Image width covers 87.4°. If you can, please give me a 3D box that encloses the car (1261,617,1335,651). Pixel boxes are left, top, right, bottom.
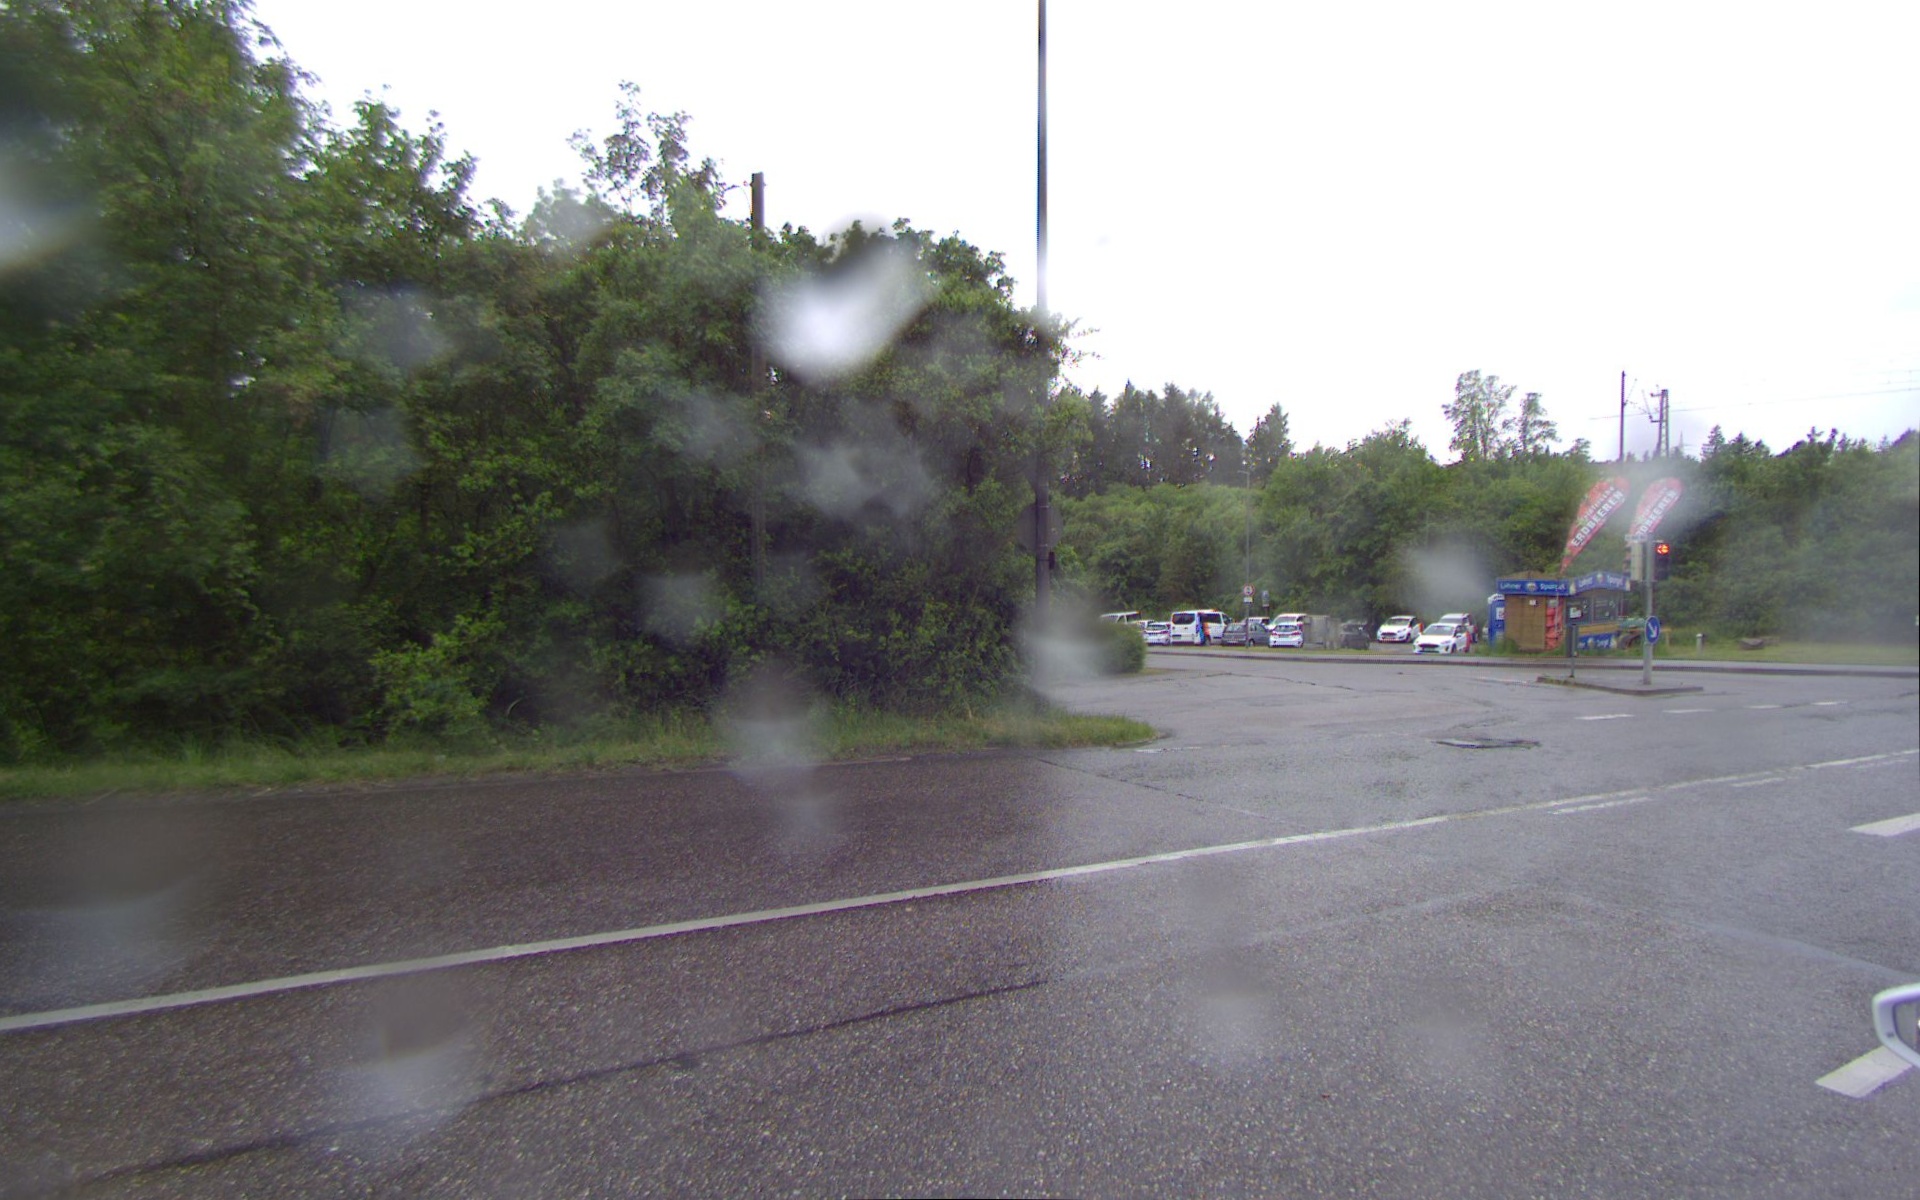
[{"bbox_3d":[17.280,1.753,51.282,3.880,1.606,1.918,3,-1,-43],"label":"car"}]

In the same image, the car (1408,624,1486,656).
[{"bbox_3d":[22.635,1.894,46.601,4.868,1.358,1.636,3,-1,-43],"label":"car"}]

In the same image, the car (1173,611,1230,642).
[{"bbox_3d":[16.298,1.774,67.713,3.973,2.040,1.974,1,0,-44],"label":"car"}]

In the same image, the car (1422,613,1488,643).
[{"bbox_3d":[27.209,1.536,55.188,3.972,1.606,1.975,2,-2,-43],"label":"car"}]

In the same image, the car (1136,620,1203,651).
[{"bbox_3d":[11.748,1.992,56.153,1.834,1.606,3.978,2,-1,42],"label":"car"}]

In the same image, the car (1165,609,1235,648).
[{"bbox_3d":[12.972,1.556,54.216,1.971,1.974,3.978,2,-1,42],"label":"car"}]

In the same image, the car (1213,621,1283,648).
[{"bbox_3d":[15.232,1.837,52.966,3.972,1.327,1.734,3,-1,-43],"label":"car"}]

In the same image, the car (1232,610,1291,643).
[{"bbox_3d":[19.408,1.713,64.609,3.973,2.040,1.974,2,-2,-44],"label":"car"}]

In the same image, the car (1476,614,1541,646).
[{"bbox_3d":[29.502,1.609,54.004,3.972,1.606,1.975,2,-2,-43],"label":"car"}]

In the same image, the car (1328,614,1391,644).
[{"bbox_3d":[23.554,1.700,59.180,3.972,1.606,1.975,3,-1,-43],"label":"car"}]

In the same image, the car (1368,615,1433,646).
[{"bbox_3d":[25.065,1.729,57.118,3.972,1.606,1.975,3,-1,-43],"label":"car"}]

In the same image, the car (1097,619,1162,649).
[{"bbox_3d":[9.834,1.965,58.051,1.813,1.606,3.978,2,-1,42],"label":"car"}]

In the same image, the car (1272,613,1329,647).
[{"bbox_3d":[21.277,1.847,62.727,1.916,2.040,3.846,2,0,43],"label":"car"}]

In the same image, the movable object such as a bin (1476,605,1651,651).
[{"bbox_3d":[25.290,1.157,42.341,5.663,1.649,2.753,2,-1,10],"label":"movable object such as a bin"}]
